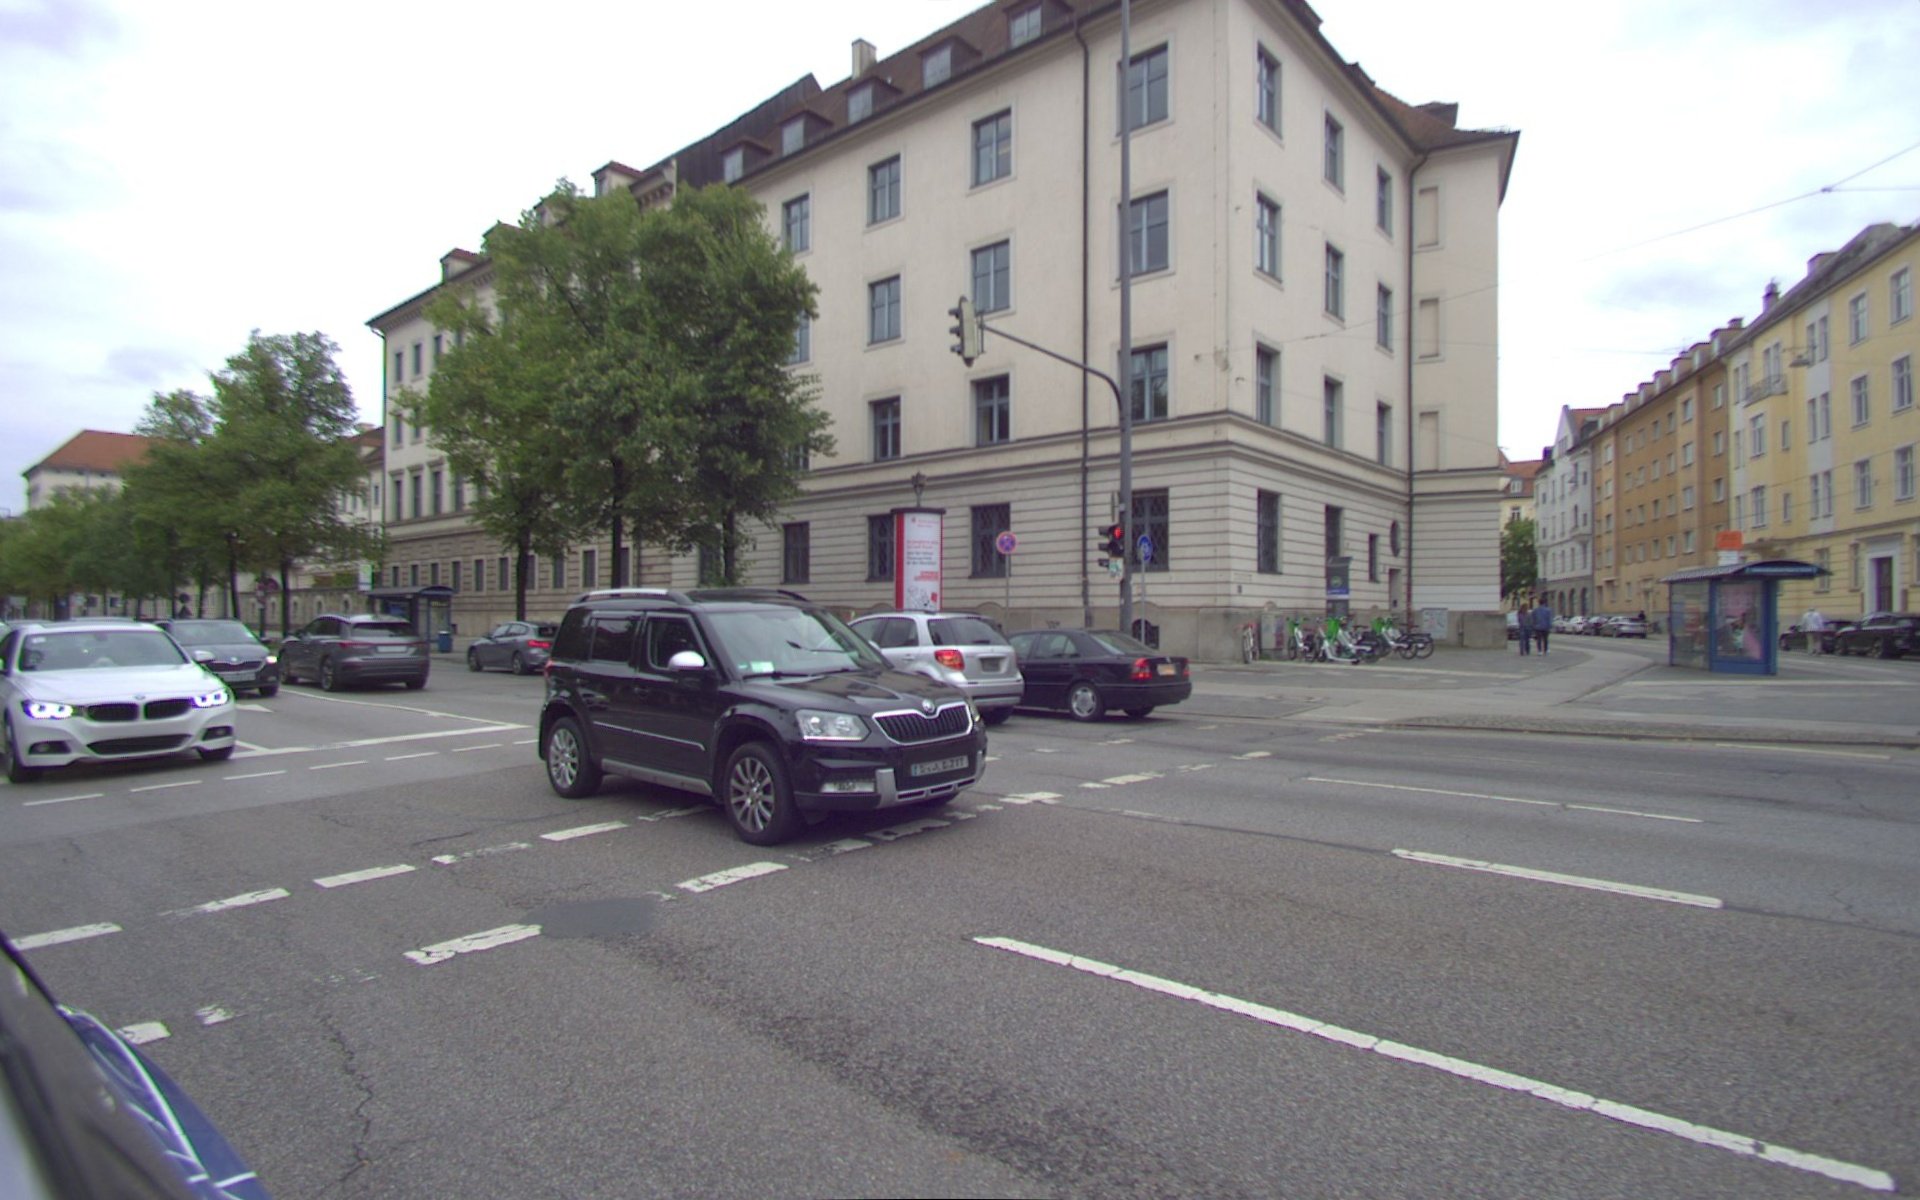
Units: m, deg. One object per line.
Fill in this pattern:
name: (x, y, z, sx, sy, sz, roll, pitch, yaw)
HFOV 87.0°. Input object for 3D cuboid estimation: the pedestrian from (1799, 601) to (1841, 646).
pedestrian: (30.649, 0.849, 36.091, 0.857, 1.588, 0.871, -1, -2, 22)

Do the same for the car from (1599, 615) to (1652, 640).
car: (43.320, 1.793, 65.992, 1.984, 1.608, 3.698, -1, -2, 19)

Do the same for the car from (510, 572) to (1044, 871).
car: (-1.564, 0.710, 7.620, 4.202, 1.649, 1.705, -1, -1, 41)

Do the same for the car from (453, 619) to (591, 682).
car: (-12.089, 1.333, 27.807, 4.442, 1.598, 1.705, -1, -1, 41)

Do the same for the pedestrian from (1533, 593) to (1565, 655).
pedestrian: (18.045, 0.727, 31.000, 0.660, 1.866, 0.797, -2, -1, 42)

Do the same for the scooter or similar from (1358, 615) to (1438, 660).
scooter or similar: (12.014, 1.017, 27.792, 1.901, 1.166, 0.681, -2, 0, 42)

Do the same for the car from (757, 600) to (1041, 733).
car: (-0.993, 0.892, 14.650, 4.163, 1.652, 1.661, -2, -2, 42)

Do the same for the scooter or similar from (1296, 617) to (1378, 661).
scooter or similar: (10.175, 1.046, 27.354, 0.680, 1.127, 1.950, -1, 0, -43)

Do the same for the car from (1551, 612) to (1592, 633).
car: (48.088, 1.793, 79.683, 1.984, 1.608, 3.698, -1, -2, 19)

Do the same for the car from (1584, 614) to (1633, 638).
car: (44.852, 1.776, 70.054, 1.984, 1.608, 3.698, -1, -2, 19)

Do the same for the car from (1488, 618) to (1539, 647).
car: (32.340, 1.902, 59.262, 1.984, 1.608, 3.698, -1, -2, 19)

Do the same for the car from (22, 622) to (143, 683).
car: (-22.949, 1.308, 26.416, 4.272, 1.458, 1.774, -1, -1, 41)

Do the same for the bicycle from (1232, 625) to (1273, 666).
bicycle: (7.289, 1.117, 25.271, 0.399, 0.954, 1.281, -1, 0, -12)

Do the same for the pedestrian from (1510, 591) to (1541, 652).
pedestrian: (17.604, 0.664, 31.513, 0.660, 1.866, 0.797, -2, -1, 42)

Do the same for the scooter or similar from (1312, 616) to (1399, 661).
scooter or similar: (10.196, 0.981, 26.139, 1.947, 1.127, 0.681, -2, 0, 42)

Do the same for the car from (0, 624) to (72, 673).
car: (-30.228, 1.524, 32.669, 4.272, 1.458, 1.774, -1, -1, 41)

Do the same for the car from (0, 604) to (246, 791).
car: (-9.742, 0.906, 11.256, 5.023, 1.649, 1.774, -1, -1, 41)

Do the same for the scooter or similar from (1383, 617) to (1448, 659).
scooter or similar: (12.698, 1.049, 28.255, 1.546, 1.127, 0.539, -2, 0, 42)

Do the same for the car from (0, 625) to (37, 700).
car: (-20.628, 1.252, 20.918, 4.272, 1.458, 1.774, -1, -1, 41)

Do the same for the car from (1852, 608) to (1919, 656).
car: (32.446, 1.085, 34.677, 1.682, 1.588, 3.546, -1, -2, 22)

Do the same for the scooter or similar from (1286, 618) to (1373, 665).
scooter or similar: (9.373, 1.035, 25.729, 0.680, 1.127, 1.950, -1, 0, -43)

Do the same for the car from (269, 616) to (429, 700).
car: (-13.043, 1.157, 21.505, 4.372, 1.598, 1.704, -1, -2, 42)

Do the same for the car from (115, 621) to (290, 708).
car: (-14.388, 1.139, 19.145, 4.272, 1.458, 1.774, -1, -1, 41)

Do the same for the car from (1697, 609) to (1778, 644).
car: (37.710, 1.282, 49.187, 1.984, 1.608, 3.698, -1, -2, 19)

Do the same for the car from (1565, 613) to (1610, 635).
car: (46.763, 1.791, 75.505, 1.984, 1.608, 3.698, -1, -2, 19)
